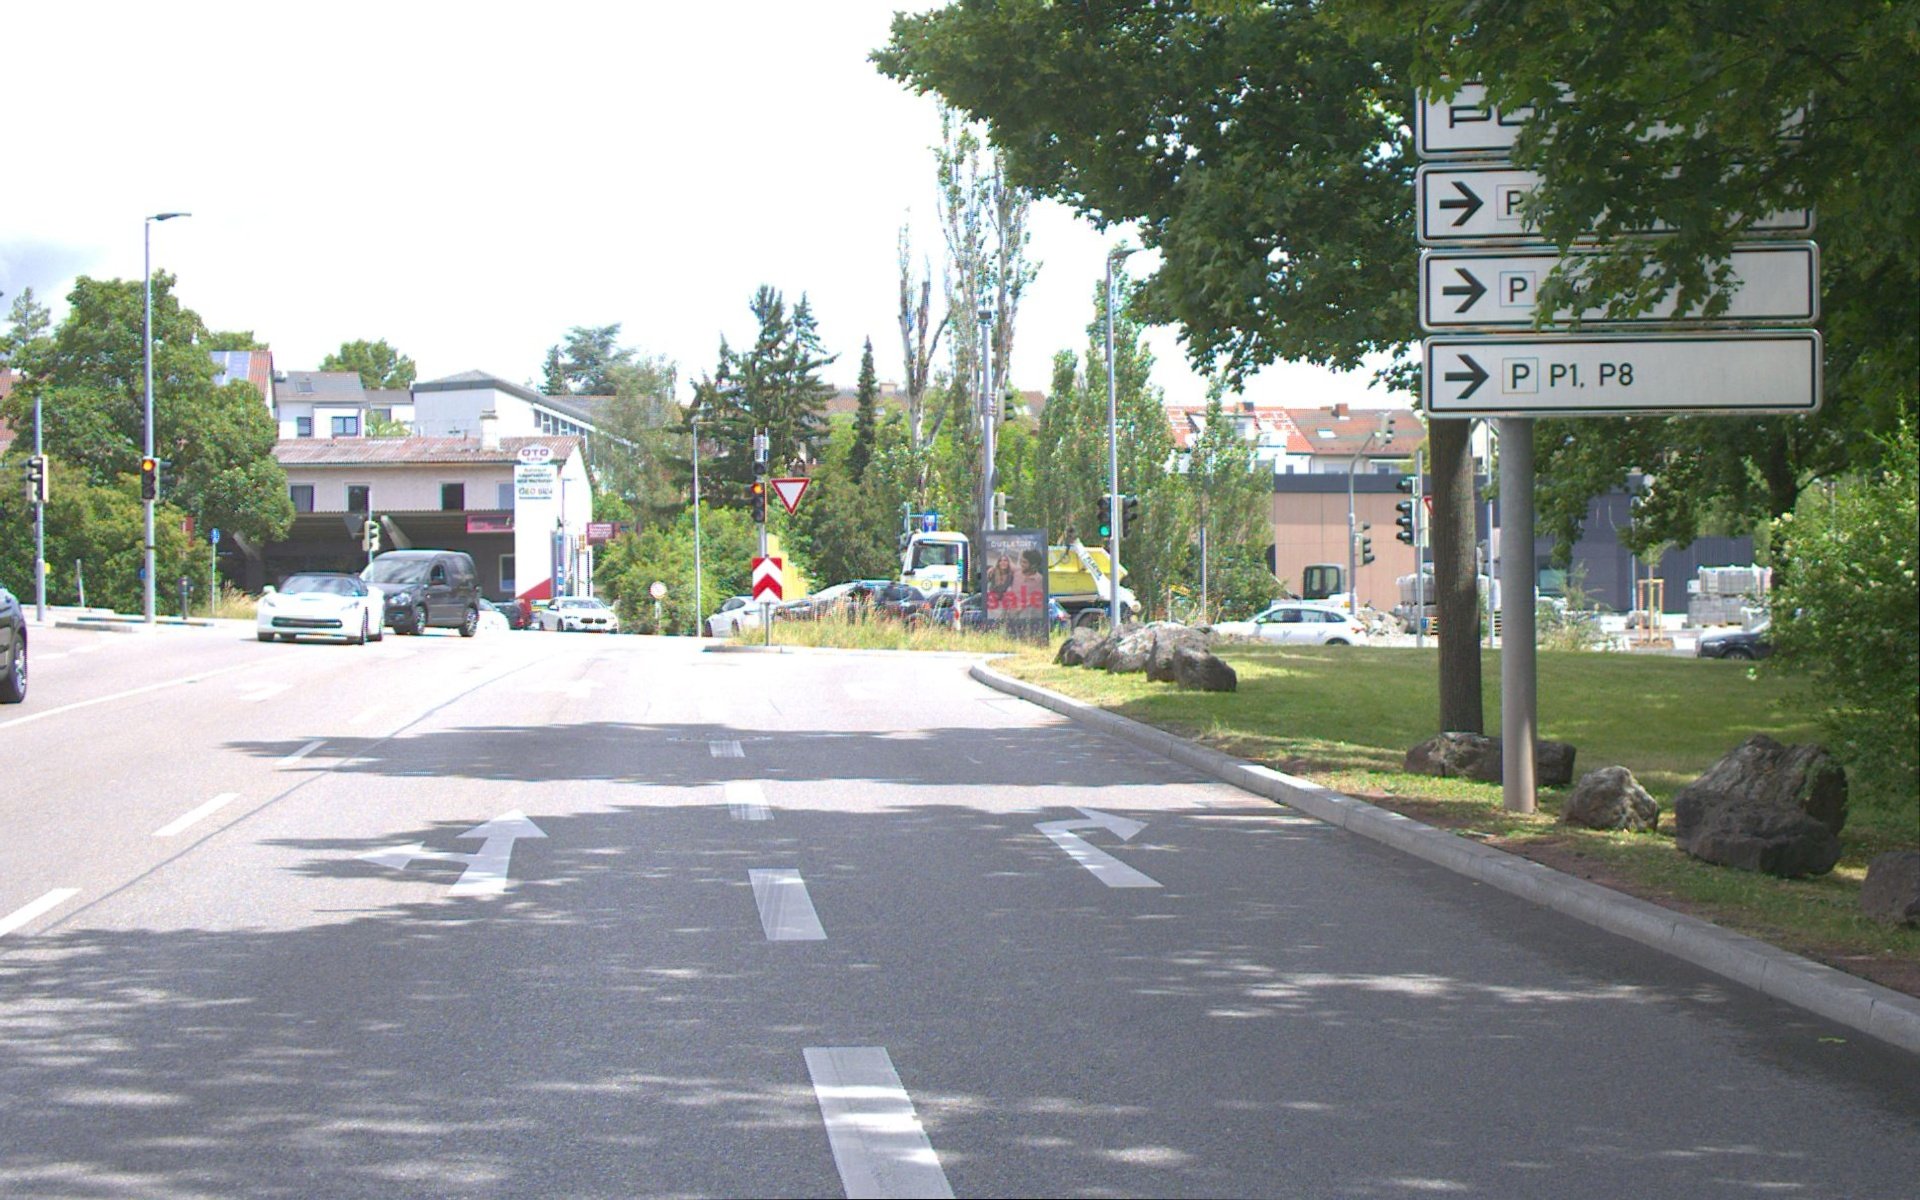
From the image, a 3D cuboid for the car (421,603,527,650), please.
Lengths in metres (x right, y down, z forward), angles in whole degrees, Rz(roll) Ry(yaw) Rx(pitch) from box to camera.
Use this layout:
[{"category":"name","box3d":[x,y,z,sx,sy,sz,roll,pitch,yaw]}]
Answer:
[{"category":"car","box3d":[-15.636,0.845,110.404,1.691,1.396,3.999,2,-1,-35]}]

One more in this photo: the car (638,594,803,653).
[{"category":"car","box3d":[-7.383,0.739,105.962,4.801,1.773,1.788,0,-2,22]}]

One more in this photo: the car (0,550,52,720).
[{"category":"car","box3d":[-10.286,0.362,33.721,1.821,1.648,4.533,-2,1,-4]}]

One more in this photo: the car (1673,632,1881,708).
[{"category":"car","box3d":[20.587,1.751,86.781,4.968,1.684,1.910,3,0,11]}]

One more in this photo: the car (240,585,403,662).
[{"category":"car","box3d":[-11.429,0.400,61.809,1.904,1.287,4.609,-1,0,2]}]

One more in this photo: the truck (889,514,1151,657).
[{"category":"truck","box3d":[1.606,-0.369,94.259,6.944,3.567,2.847,-2,-1,-1]}]

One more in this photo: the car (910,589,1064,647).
[{"category":"car","box3d":[0.696,0.488,90.662,3.987,1.396,1.697,2,-1,0]}]

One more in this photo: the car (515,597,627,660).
[{"category":"car","box3d":[-12.547,0.919,110.722,1.899,1.853,3.809,-2,-1,-36]}]

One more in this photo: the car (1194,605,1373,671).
[{"category":"car","box3d":[8.226,0.955,87.617,4.364,1.464,1.622,3,0,1]}]

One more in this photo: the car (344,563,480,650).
[{"category":"car","box3d":[-11.552,0.152,72.728,1.785,1.773,4.810,0,-1,4]}]
